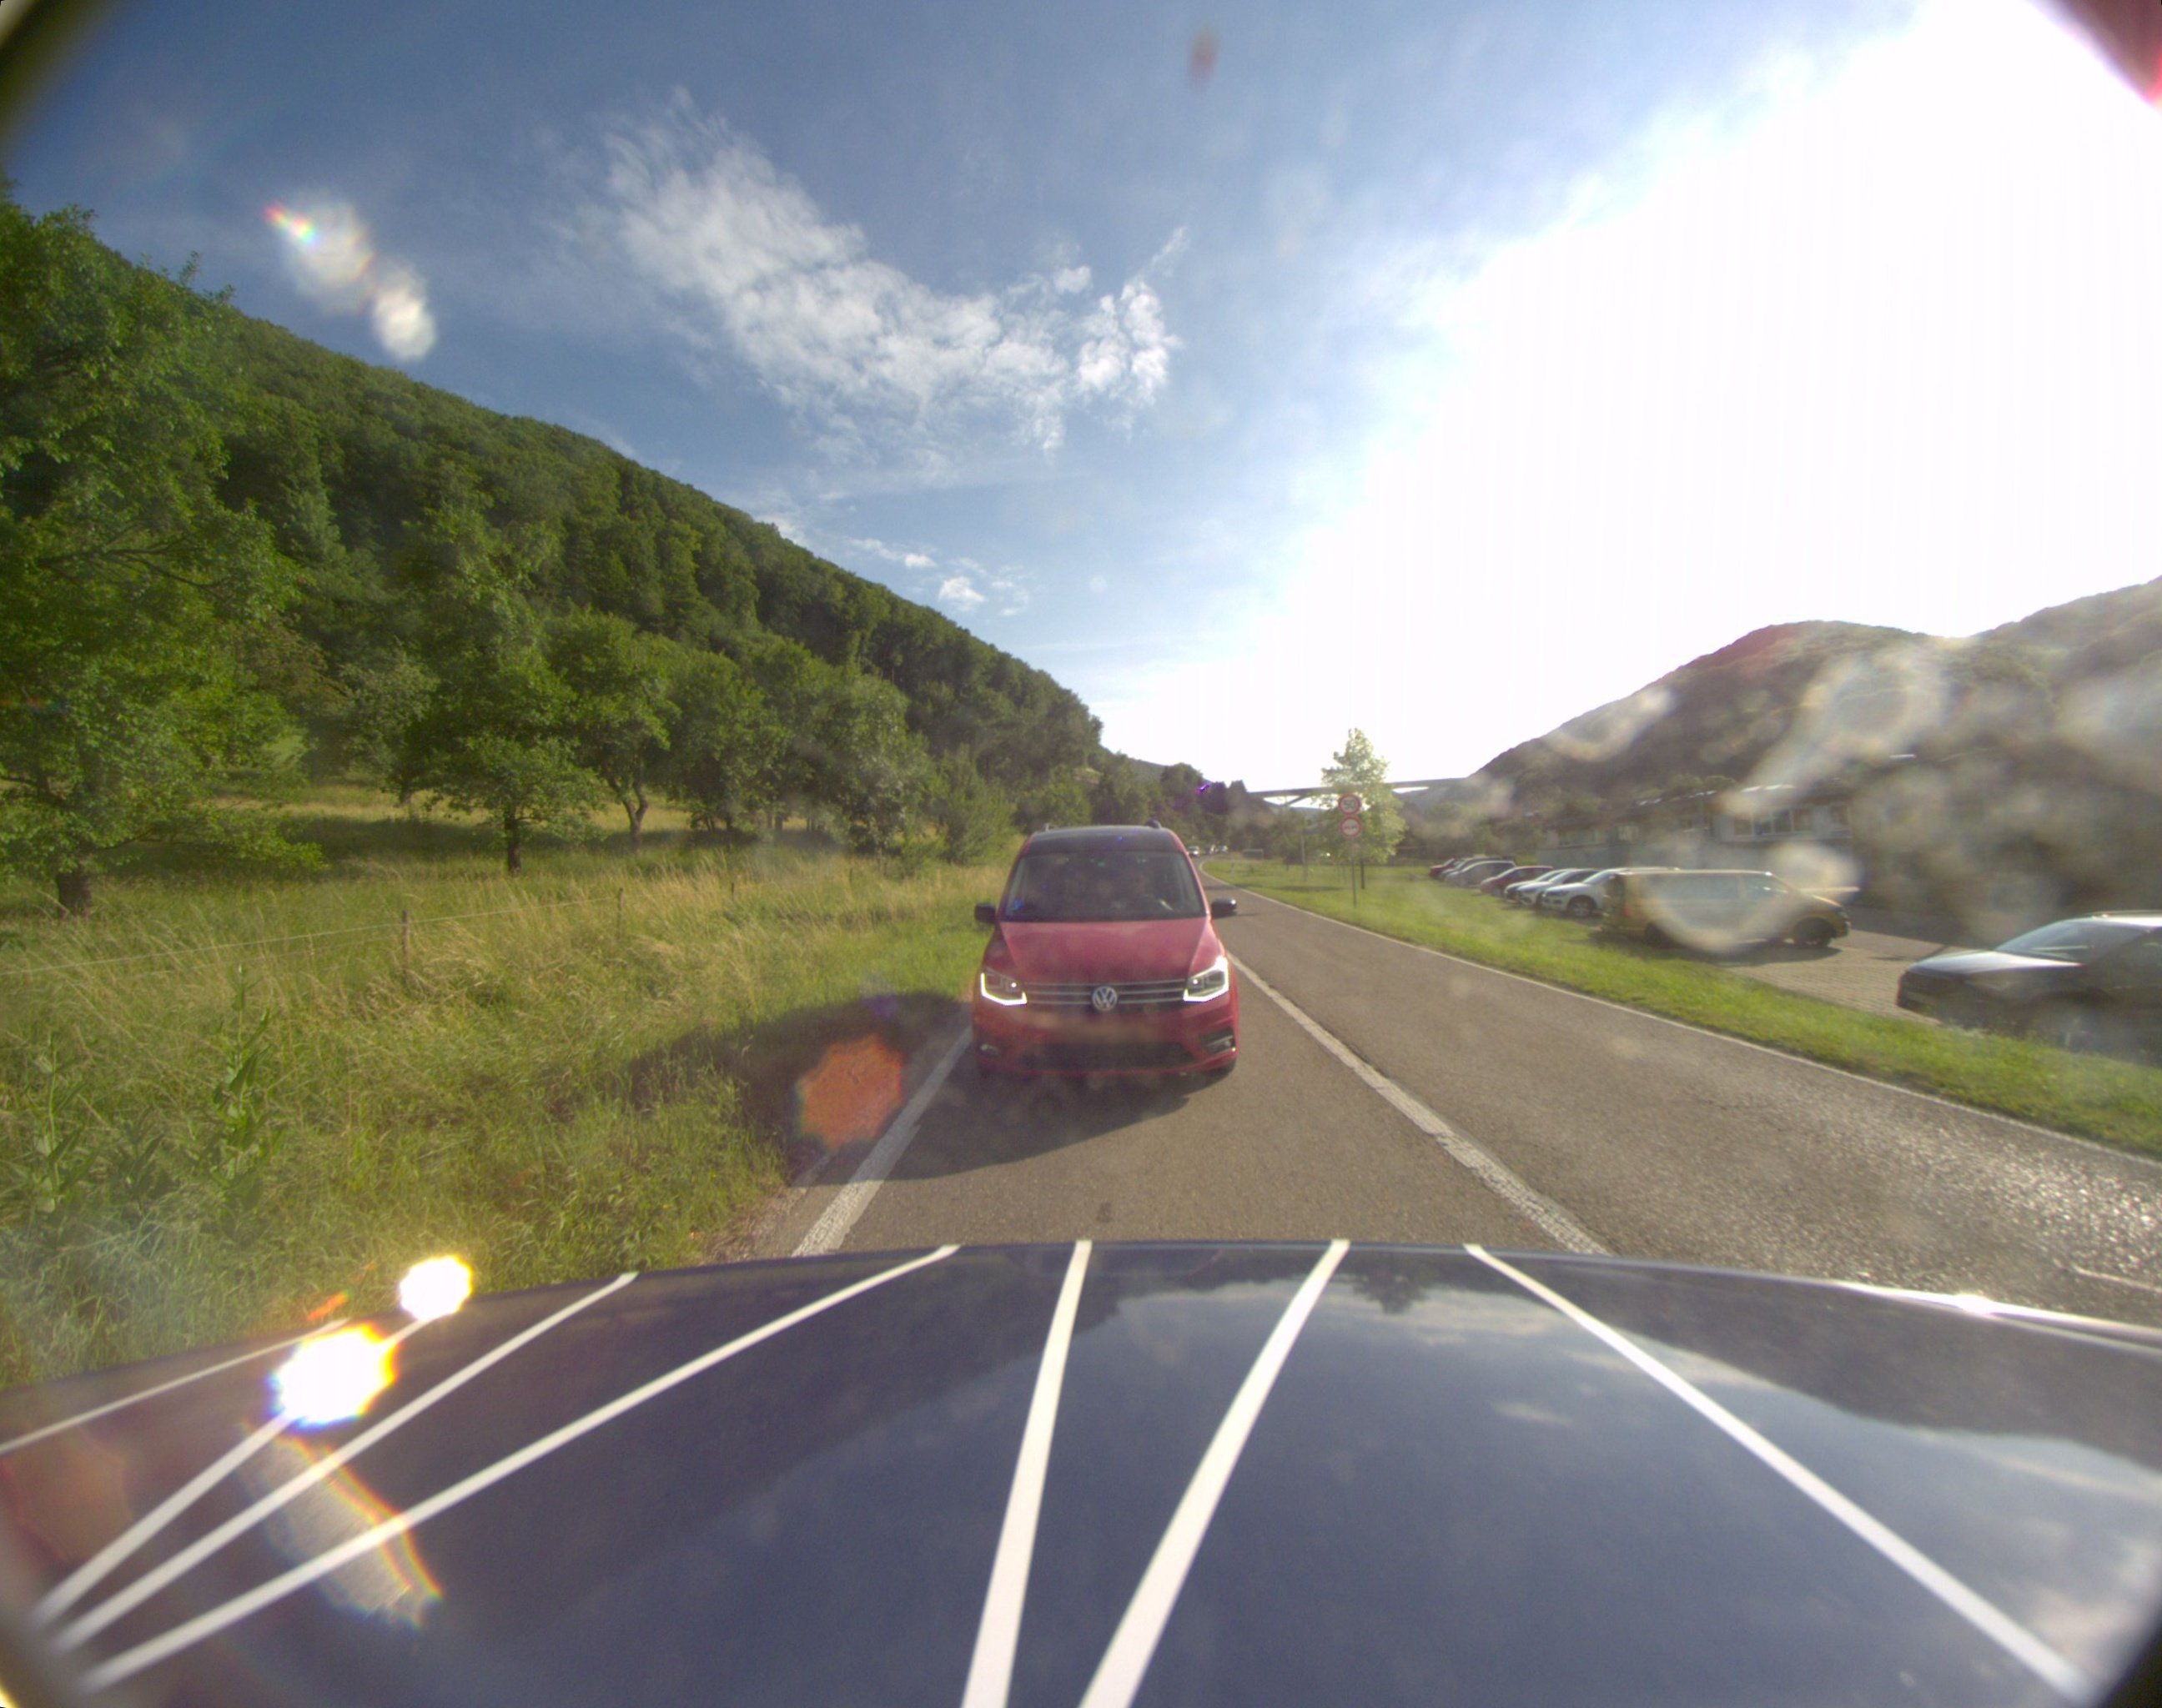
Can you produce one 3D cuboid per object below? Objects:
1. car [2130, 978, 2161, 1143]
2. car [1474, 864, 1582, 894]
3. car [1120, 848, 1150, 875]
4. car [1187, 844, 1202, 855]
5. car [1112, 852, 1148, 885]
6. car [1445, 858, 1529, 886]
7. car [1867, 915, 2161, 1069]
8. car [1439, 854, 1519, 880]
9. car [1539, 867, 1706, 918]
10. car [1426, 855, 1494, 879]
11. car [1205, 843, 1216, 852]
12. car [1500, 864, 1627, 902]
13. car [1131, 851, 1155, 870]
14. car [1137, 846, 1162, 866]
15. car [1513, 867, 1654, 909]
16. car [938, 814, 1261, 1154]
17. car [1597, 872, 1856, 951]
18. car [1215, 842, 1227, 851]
[{"bbox_3d":[12.043,1.898,5.751,4.645,1.488,1.915,-1,0,15],"label":"car"},{"bbox_3d":[22.715,1.277,38.822,4.437,1.443,2.003,-1,0,20],"label":"car"},{"bbox_3d":[3.681,0.484,51.177,1.901,1.717,4.002,-2,0,5],"label":"car"},{"bbox_3d":[18.682,-0.783,125.088,1.796,1.725,4.289,-2,0,18],"label":"car"},{"bbox_3d":[2.521,0.722,38.984,1.692,1.539,4.001,-2,0,4],"label":"car"},{"bbox_3d":[25.820,1.149,48.468,4.437,1.573,2.003,-2,0,18],"label":"car"},{"bbox_3d":[13.545,1.714,9.828,4.289,1.628,1.915,-3,0,15],"label":"car"},{"bbox_3d":[27.618,0.886,52.929,4.665,1.752,2.003,-1,0,18],"label":"car"},{"bbox_3d":[19.335,1.347,27.395,4.545,1.691,2.003,-1,0,20],"label":"car"},{"bbox_3d":[28.909,0.978,58.103,4.437,1.709,2.003,-1,0,18],"label":"car"},{"bbox_3d":[24.820,-1.191,145.826,1.677,1.637,3.350,-2,0,16],"label":"car"},{"bbox_3d":[21.421,1.296,33.947,4.437,1.573,2.003,-1,0,18],"label":"car"},{"bbox_3d":[5.130,0.554,62.613,1.798,1.464,4.286,-2,0,7],"label":"car"},{"bbox_3d":[6.789,0.179,74.696,1.997,1.838,4.003,-2,0,10],"label":"car"},{"bbox_3d":[20.210,1.347,30.792,4.437,1.577,2.003,-1,0,20],"label":"car"},{"bbox_3d":[0.132,0.743,6.410,1.747,1.849,4.348,-2,0,1],"label":"car"},{"bbox_3d":[16.301,1.414,19.532,4.653,1.802,2.003,-1,0,20],"label":"car"},{"bbox_3d":[29.639,-1.585,161.277,1.996,1.706,4.005,-2,-1,17],"label":"car"}]
